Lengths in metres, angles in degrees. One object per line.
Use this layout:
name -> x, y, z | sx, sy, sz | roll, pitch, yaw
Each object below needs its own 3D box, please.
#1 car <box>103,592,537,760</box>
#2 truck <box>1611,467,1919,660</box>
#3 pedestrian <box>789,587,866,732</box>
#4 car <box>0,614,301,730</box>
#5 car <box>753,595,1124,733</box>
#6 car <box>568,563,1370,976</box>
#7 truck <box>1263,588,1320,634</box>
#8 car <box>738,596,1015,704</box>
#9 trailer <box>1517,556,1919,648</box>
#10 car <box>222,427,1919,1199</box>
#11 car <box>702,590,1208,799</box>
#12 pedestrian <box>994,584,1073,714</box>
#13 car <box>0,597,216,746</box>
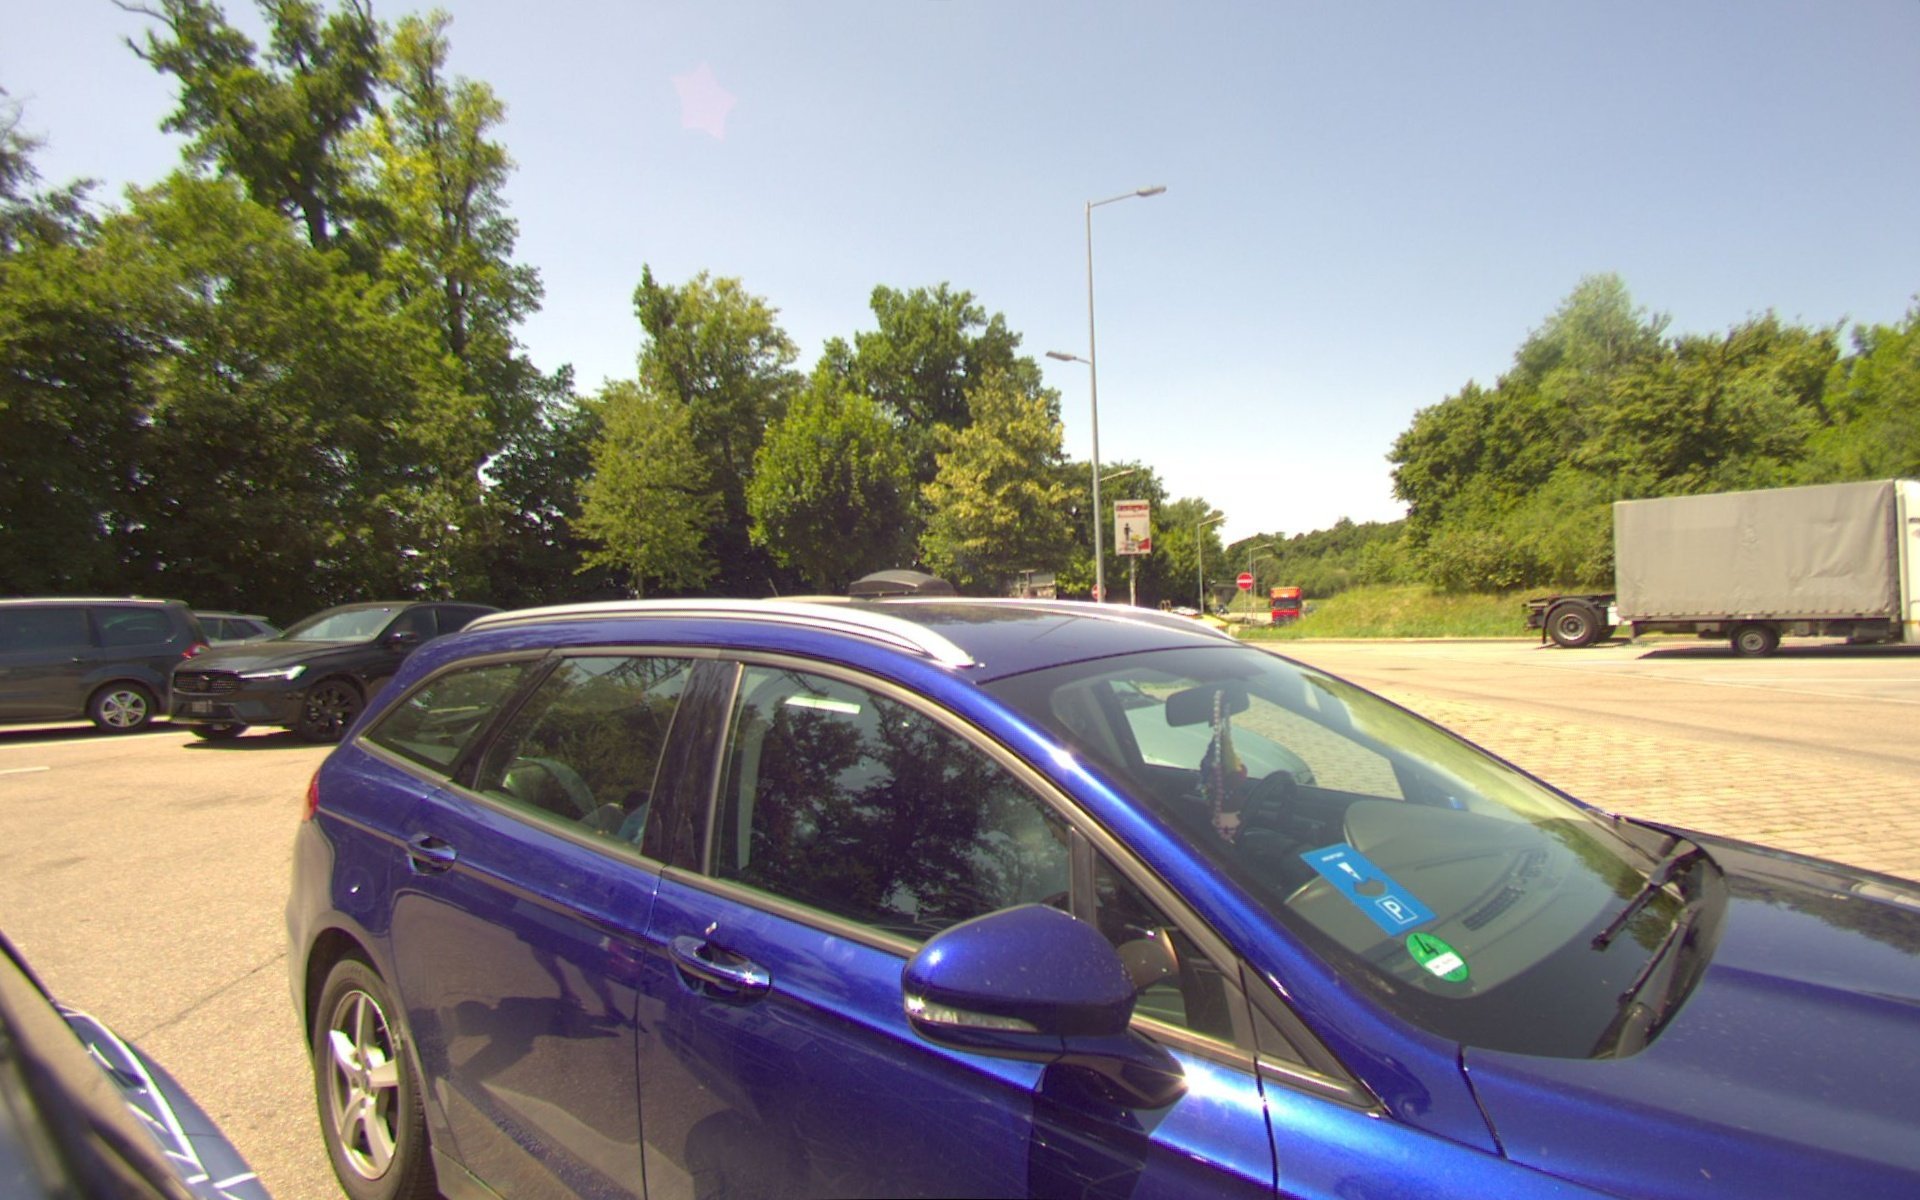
car -> -7.752, 0.798, 12.925 | 1.981, 1.725, 4.595 | -1, 0, 15
truck -> 16.834, -0.660, 18.961 | 7.295, 3.259, 2.709 | -4, -1, 43
pedestrian -> -1.581, 0.699, 12.183 | 0.822, 1.676, 0.676 | -1, -1, 0
car -> -12.590, 1.003, 15.461 | 1.687, 1.515, 3.943 | -1, 0, 43
car -> -0.379, 0.773, 12.754 | 4.485, 1.437, 1.756 | -3, -1, 36
car -> -0.251, 0.694, 5.832 | 4.490, 1.511, 1.754 | -3, -1, 40
truck -> 32.781, 0.972, 99.455 | 3.117, 4.150, 15.262 | -1, 0, 26
car -> -1.470, 0.824, 16.854 | 4.485, 1.562, 1.756 | -3, -1, 36
trailer -> 17.260, 0.120, 23.389 | 7.295, 1.701, 2.235 | -4, -1, 43
car -> 0.261, 0.661, 2.134 | 4.490, 1.502, 1.851 | -3, 0, 40
car -> -0.238, 0.748, 9.207 | 4.490, 1.437, 1.754 | -3, -1, 40
pedestrian -> 1.020, 0.659, 14.085 | 0.820, 1.746, 0.677 | 0, -1, -37
car -> -11.935, 0.858, 12.296 | 4.553, 1.725, 1.741 | 0, -1, -41
